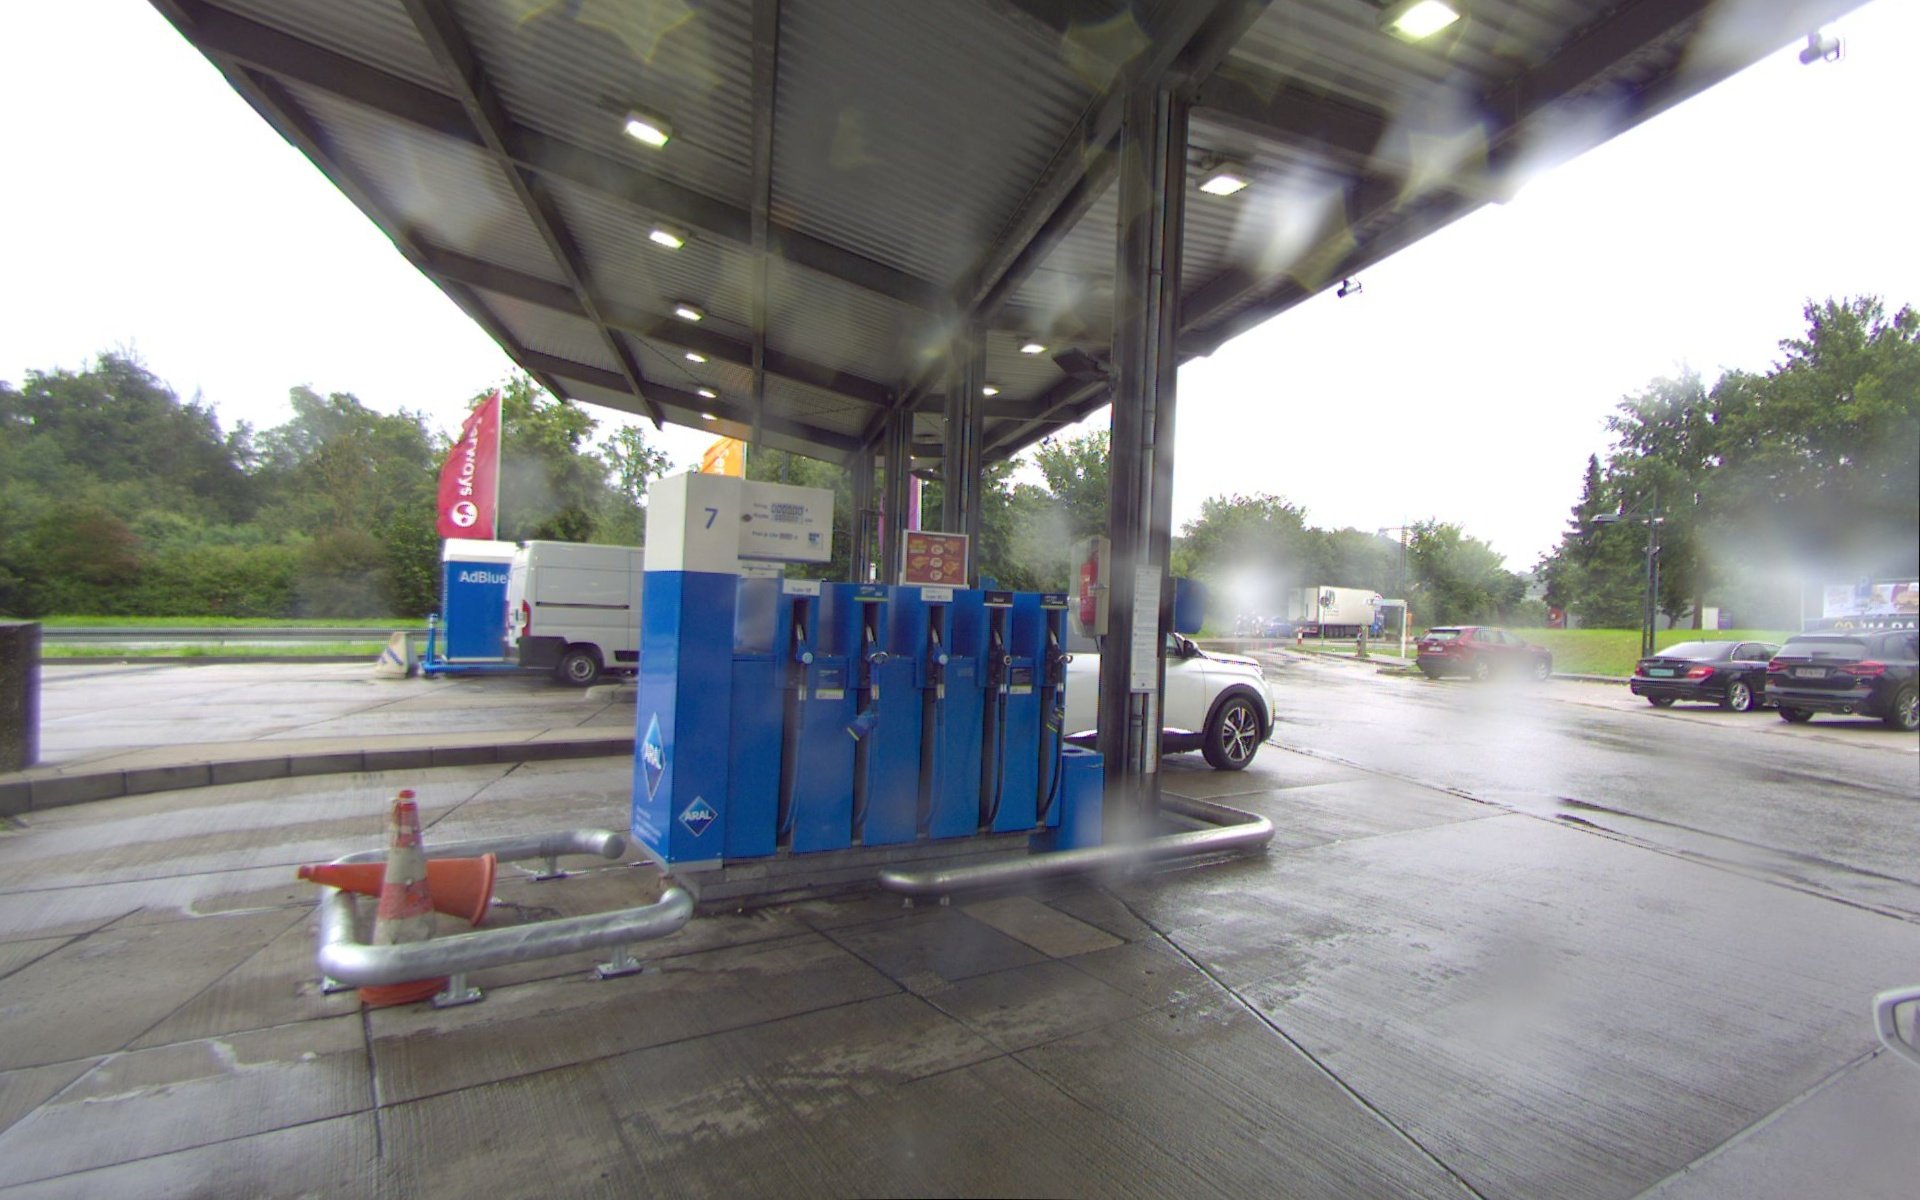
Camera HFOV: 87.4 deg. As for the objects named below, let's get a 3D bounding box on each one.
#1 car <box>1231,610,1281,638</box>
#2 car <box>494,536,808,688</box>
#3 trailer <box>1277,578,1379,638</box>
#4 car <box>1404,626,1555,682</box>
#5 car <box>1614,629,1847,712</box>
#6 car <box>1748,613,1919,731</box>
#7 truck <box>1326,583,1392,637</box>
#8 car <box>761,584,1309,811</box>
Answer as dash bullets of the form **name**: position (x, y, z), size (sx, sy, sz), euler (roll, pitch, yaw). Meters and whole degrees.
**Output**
- **car**: position (20.918, 1.678, 70.832), size (1.903, 1.862, 4.373), euler (1, 0, 38)
- **car**: position (-5.750, 0.267, 18.963), size (5.227, 2.496, 2.306), euler (1, -1, -34)
- **trailer**: position (30.934, 0.749, 83.868), size (3.416, 4.618, 13.847), euler (2, 0, 40)
- **car**: position (16.020, 1.644, 30.983), size (4.294, 1.617, 1.879), euler (1, -1, -24)
- **car**: position (15.957, 1.416, 20.836), size (4.119, 1.585, 1.883), euler (1, -1, -19)
- **car**: position (16.169, 1.188, 17.417), size (4.344, 1.852, 1.883), euler (1, -1, -19)
- **truck**: position (35.607, 0.919, 89.471), size (3.416, 4.618, 6.704), euler (2, 0, 40)
- **car**: position (0.863, 0.724, 9.173), size (4.953, 1.586, 1.802), euler (1, 0, -35)
